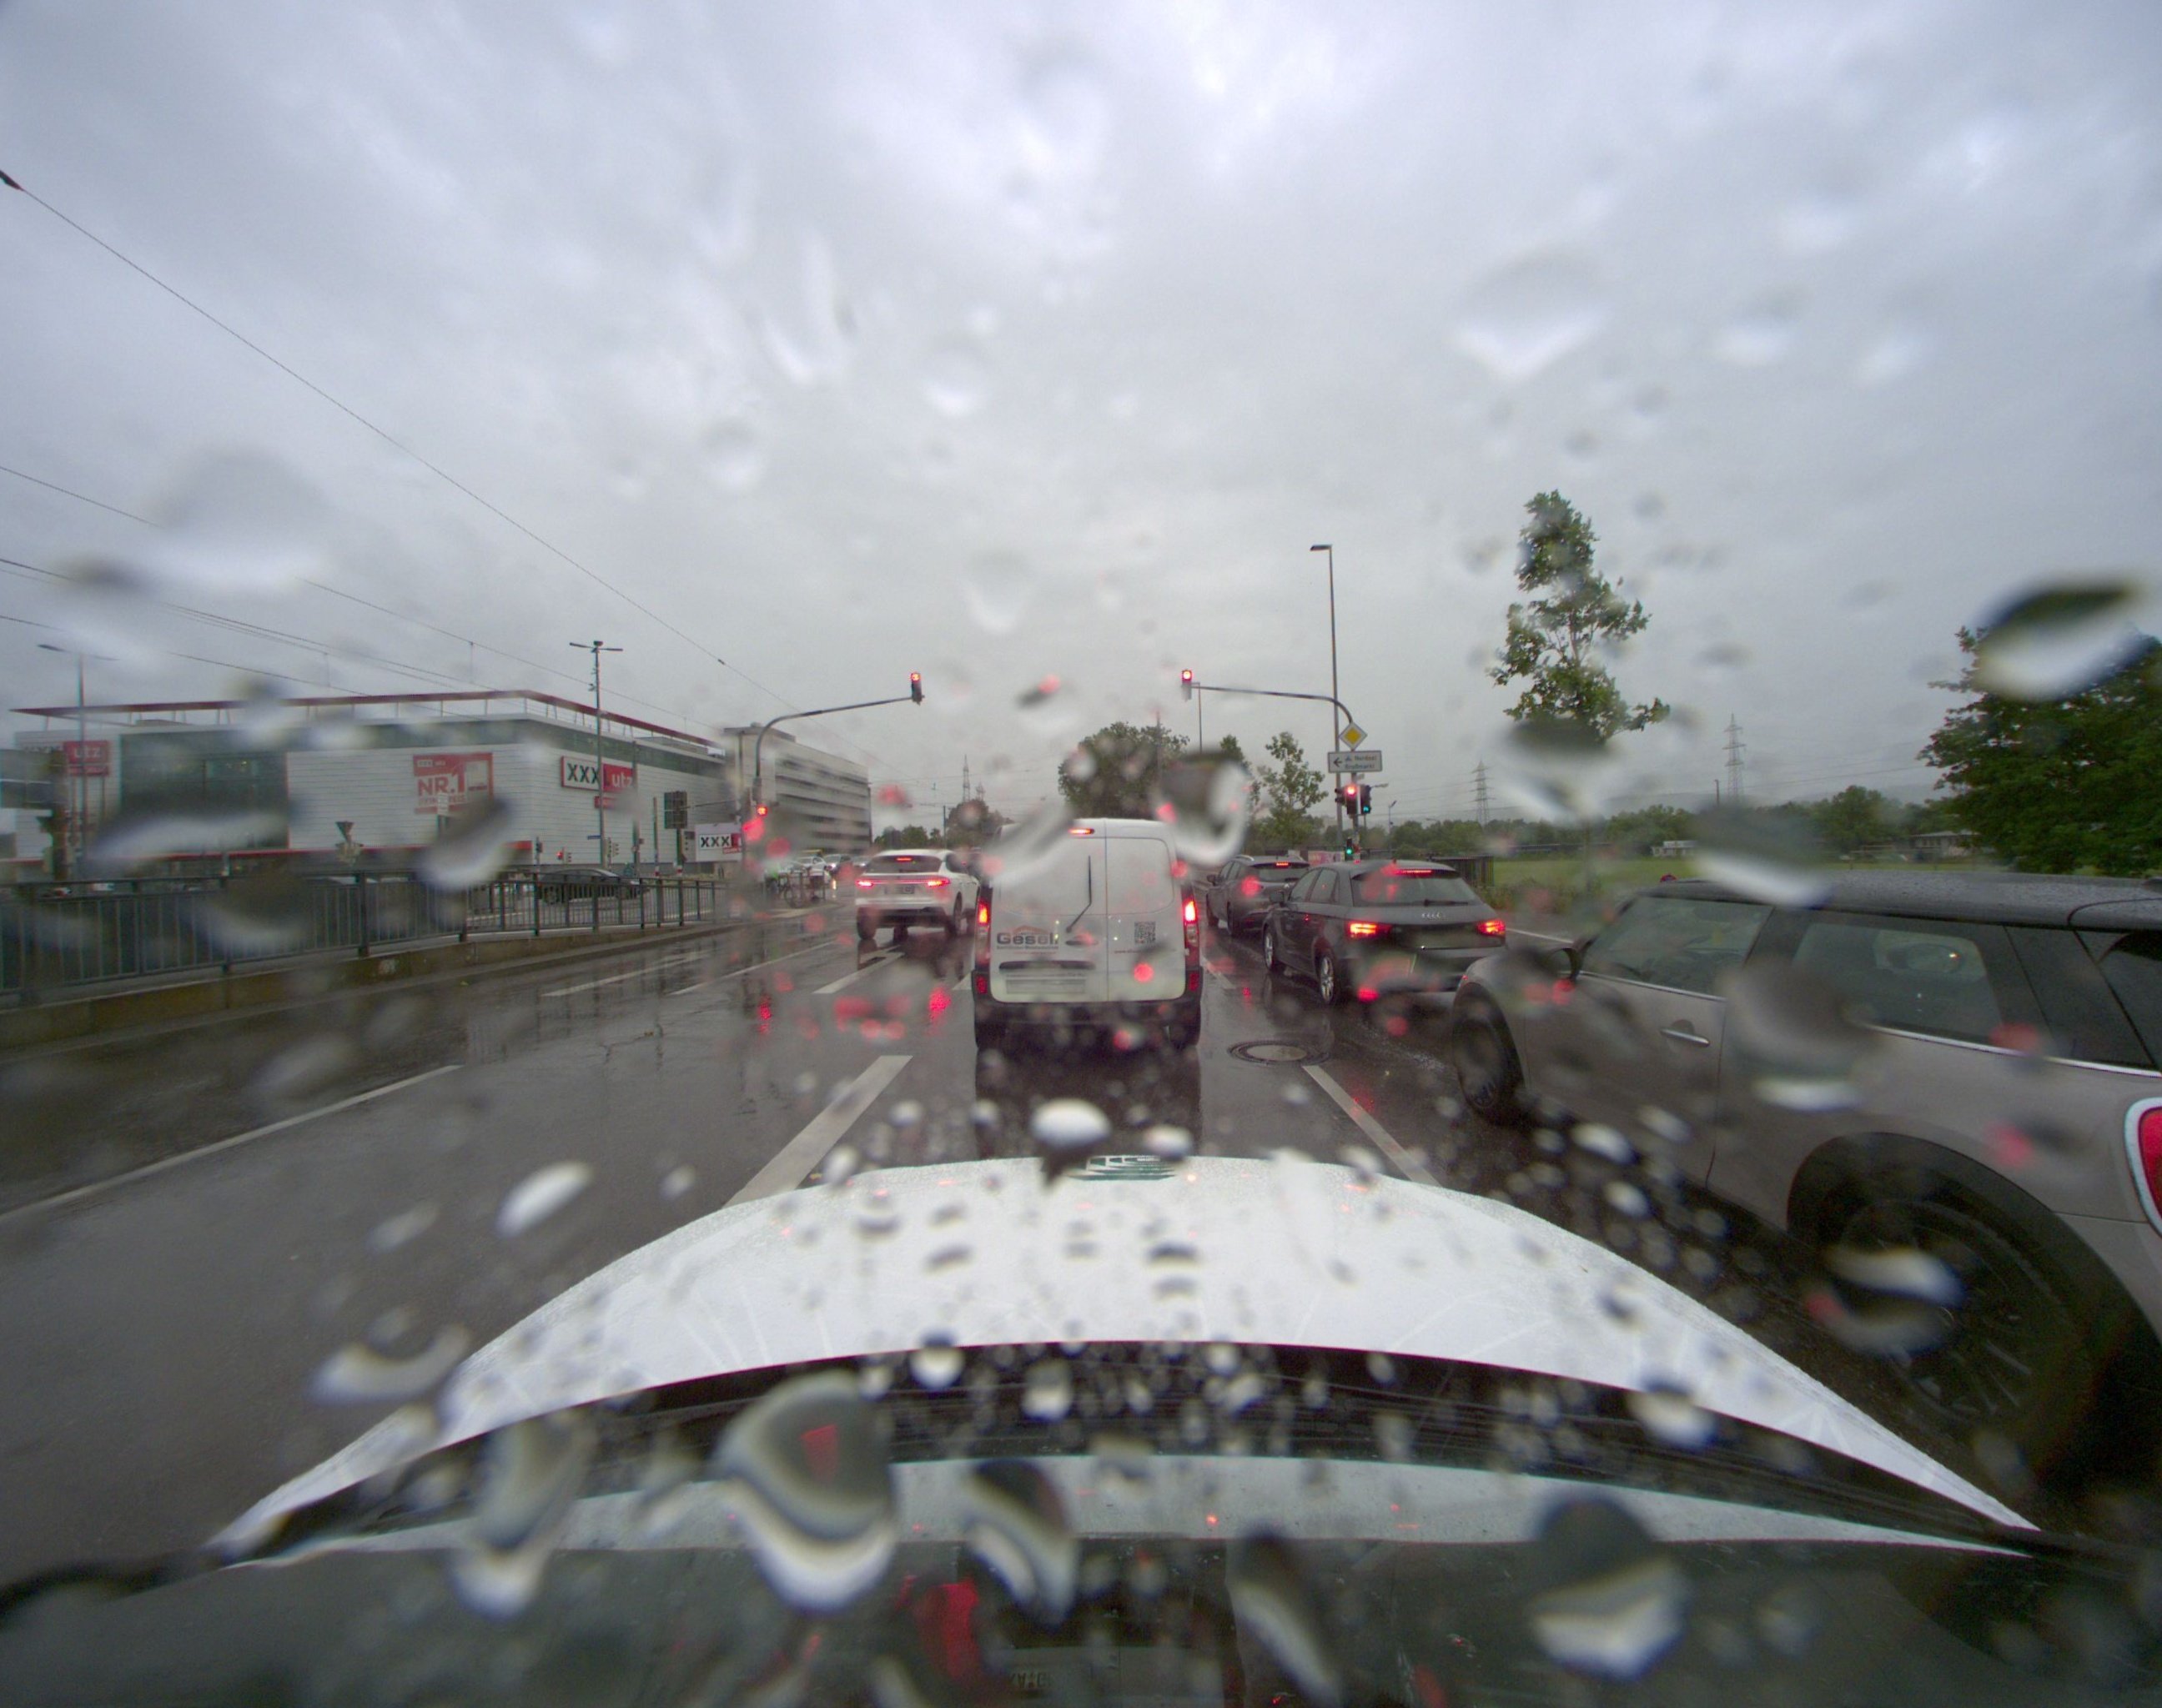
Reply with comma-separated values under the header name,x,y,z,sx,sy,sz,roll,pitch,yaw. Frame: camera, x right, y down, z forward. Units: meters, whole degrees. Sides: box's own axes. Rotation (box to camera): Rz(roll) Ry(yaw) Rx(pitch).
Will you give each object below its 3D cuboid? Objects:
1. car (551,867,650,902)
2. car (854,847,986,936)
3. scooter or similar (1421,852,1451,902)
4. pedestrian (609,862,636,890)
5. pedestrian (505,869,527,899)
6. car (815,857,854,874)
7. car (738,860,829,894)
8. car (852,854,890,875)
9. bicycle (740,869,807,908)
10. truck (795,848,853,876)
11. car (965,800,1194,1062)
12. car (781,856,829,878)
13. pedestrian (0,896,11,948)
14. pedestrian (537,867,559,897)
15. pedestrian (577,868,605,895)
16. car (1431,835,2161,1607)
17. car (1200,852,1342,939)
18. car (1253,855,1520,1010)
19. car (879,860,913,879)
name,x,y,z,sx,sy,sz,roll,pitch,yaw
car,-20.330,1.275,34.582,3.353,1.422,1.459,0,-1,-17
car,-3.043,0.643,16.299,1.723,1.535,4.298,0,0,1
scooter or similar,8.465,0.536,19.421,0.244,1.158,1.187,0,-1,3
pedestrian,-26.685,1.280,47.374,0.912,1.632,1.015,-1,-1,12
pedestrian,-31.331,1.629,45.171,0.701,1.632,0.918,0,-1,-10
car,-19.254,0.900,63.759,1.579,1.336,3.837,0,-1,6
car,-14.043,1.049,38.537,3.733,1.503,1.601,0,-1,-38
car,-18.278,0.912,70.960,1.883,1.699,4.006,0,-1,6
bicycle,-8.972,1.008,23.798,1.745,1.034,0.414,2,-1,0
truck,-22.311,0.671,71.137,2.342,2.279,7.637,0,0,2
car,0.052,0.542,7.636,1.560,1.788,4.002,-1,0,2
car,-19.521,0.921,57.751,1.689,1.492,3.884,0,-1,7
pedestrian,-32.409,2.019,24.005,0.561,1.537,0.872,0,-1,1
pedestrian,-29.691,1.570,45.399,0.701,1.632,0.918,0,-1,-10
pedestrian,-30.283,1.694,50.312,1.013,1.632,1.091,-1,-1,27
car,2.986,0.711,3.204,1.707,1.508,3.624,0,0,1
car,3.463,0.690,15.548,1.853,1.428,3.808,0,0,1
car,3.064,0.702,8.966,1.623,1.344,3.624,0,0,1
car,-17.670,1.458,78.017,1.919,1.827,4.007,0,-1,6
